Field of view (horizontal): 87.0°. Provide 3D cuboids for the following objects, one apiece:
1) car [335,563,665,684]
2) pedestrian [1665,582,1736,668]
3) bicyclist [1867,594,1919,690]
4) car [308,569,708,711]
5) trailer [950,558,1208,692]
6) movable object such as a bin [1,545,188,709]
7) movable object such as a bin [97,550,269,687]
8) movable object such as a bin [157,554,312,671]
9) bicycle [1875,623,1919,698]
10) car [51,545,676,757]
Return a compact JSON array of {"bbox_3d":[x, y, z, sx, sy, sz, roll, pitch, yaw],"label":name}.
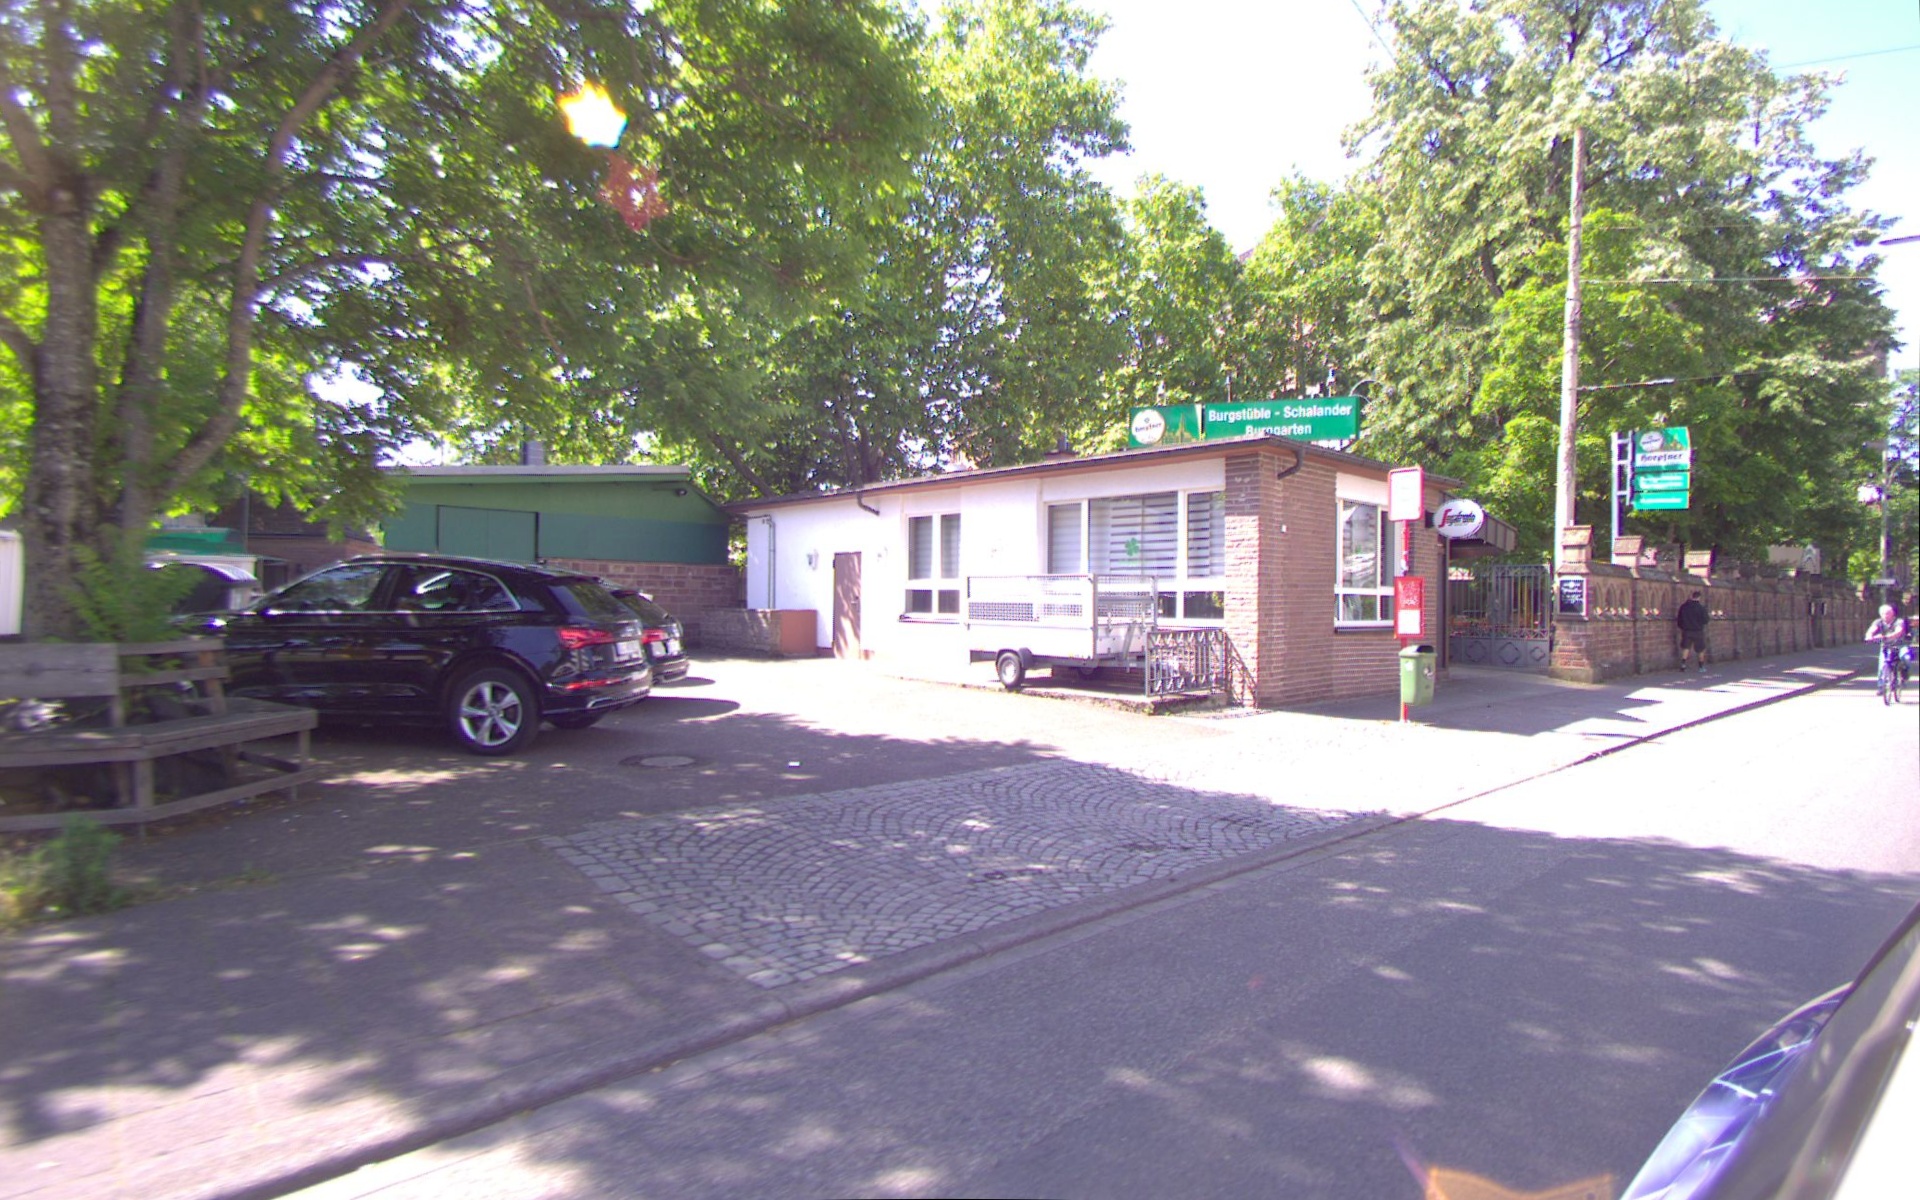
[{"bbox_3d":[-6.495,0.297,14.587,3.926,1.577,1.846,1,0,2],"label":"car"},{"bbox_3d":[16.757,0.546,22.900,1.164,1.838,0.978,1,3,-42],"label":"pedestrian"},{"bbox_3d":[16.277,0.706,17.419,0.948,1.616,0.904,1,-1,-43],"label":"bicyclist"},{"bbox_3d":[-5.183,0.424,11.975,3.926,1.492,1.846,1,0,2],"label":"car"},{"bbox_3d":[1.556,0.282,14.014,1.693,1.623,3.280,1,0,-40],"label":"trailer"},{"bbox_3d":[-8.807,0.243,10.391,1.354,1.521,1.421,1,0,-39],"label":"movable object such as a bin"},{"bbox_3d":[-9.248,0.203,12.149,1.351,1.521,1.424,1,0,-26],"label":"movable object such as a bin"},{"bbox_3d":[-9.944,0.163,13.952,1.303,1.521,1.332,1,0,-13],"label":"movable object such as a bin"},{"bbox_3d":[16.466,1.029,17.611,2.088,1.212,0.610,0,-3,-44],"label":"bicycle"},{"bbox_3d":[-5.174,0.394,9.261,4.573,1.661,2.019,1,0,2],"label":"car"}]
